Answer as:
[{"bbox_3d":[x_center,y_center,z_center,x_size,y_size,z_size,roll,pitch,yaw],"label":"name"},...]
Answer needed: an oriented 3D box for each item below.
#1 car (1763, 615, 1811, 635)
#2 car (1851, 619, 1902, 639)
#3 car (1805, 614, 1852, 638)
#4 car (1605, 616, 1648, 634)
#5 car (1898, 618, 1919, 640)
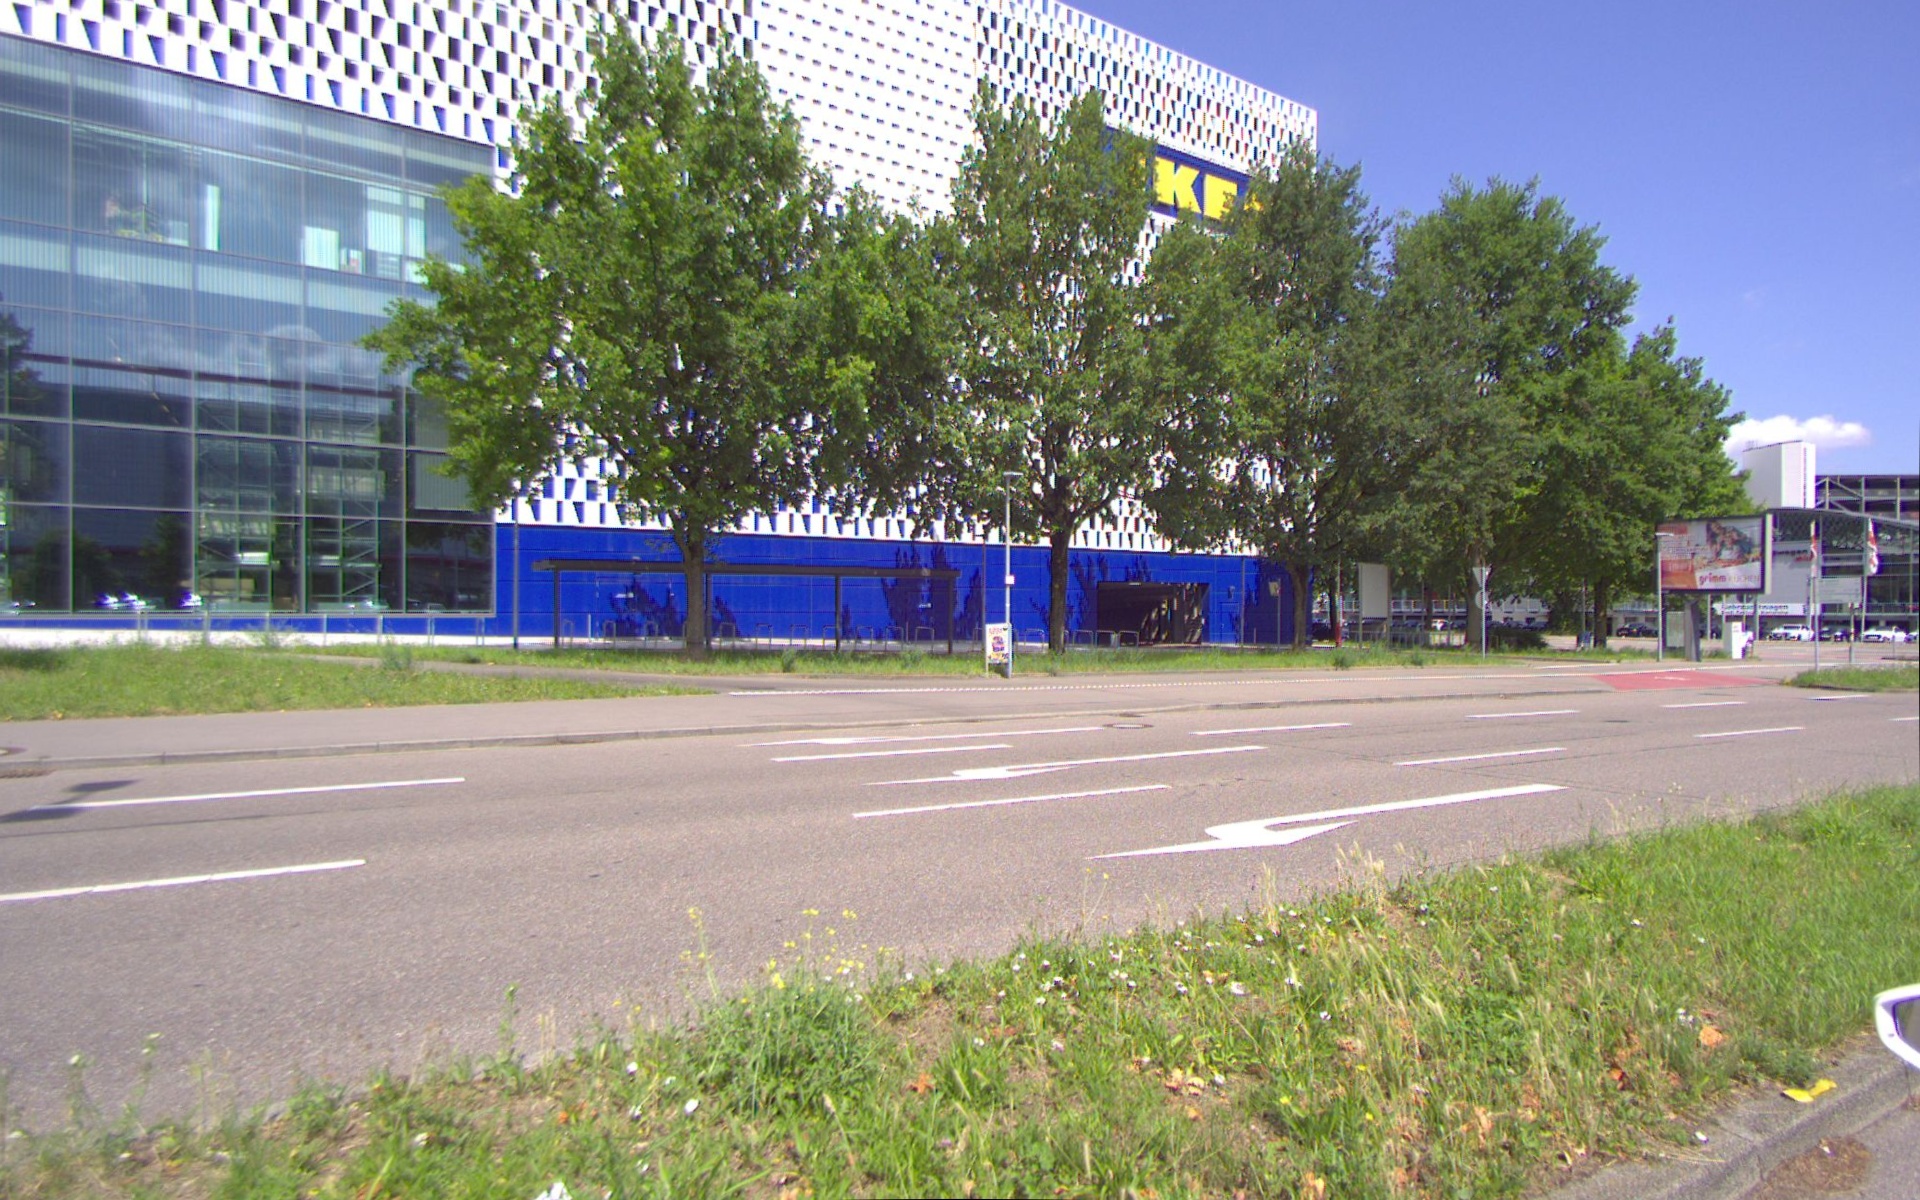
[{"bbox_3d":[64.324,1.921,78.160,3.660,1.506,1.868,0,0,-33],"label":"car"},{"bbox_3d":[67.272,2.121,73.714,3.711,1.394,1.896,0,0,-33],"label":"car"},{"bbox_3d":[65.706,1.931,75.973,3.578,1.682,1.746,0,0,-33],"label":"car"},{"bbox_3d":[57.470,2.138,86.592,3.662,1.508,1.826,0,0,-34],"label":"car"},{"bbox_3d":[68.706,2.066,71.634,3.985,1.469,1.766,0,0,-33],"label":"car"}]
